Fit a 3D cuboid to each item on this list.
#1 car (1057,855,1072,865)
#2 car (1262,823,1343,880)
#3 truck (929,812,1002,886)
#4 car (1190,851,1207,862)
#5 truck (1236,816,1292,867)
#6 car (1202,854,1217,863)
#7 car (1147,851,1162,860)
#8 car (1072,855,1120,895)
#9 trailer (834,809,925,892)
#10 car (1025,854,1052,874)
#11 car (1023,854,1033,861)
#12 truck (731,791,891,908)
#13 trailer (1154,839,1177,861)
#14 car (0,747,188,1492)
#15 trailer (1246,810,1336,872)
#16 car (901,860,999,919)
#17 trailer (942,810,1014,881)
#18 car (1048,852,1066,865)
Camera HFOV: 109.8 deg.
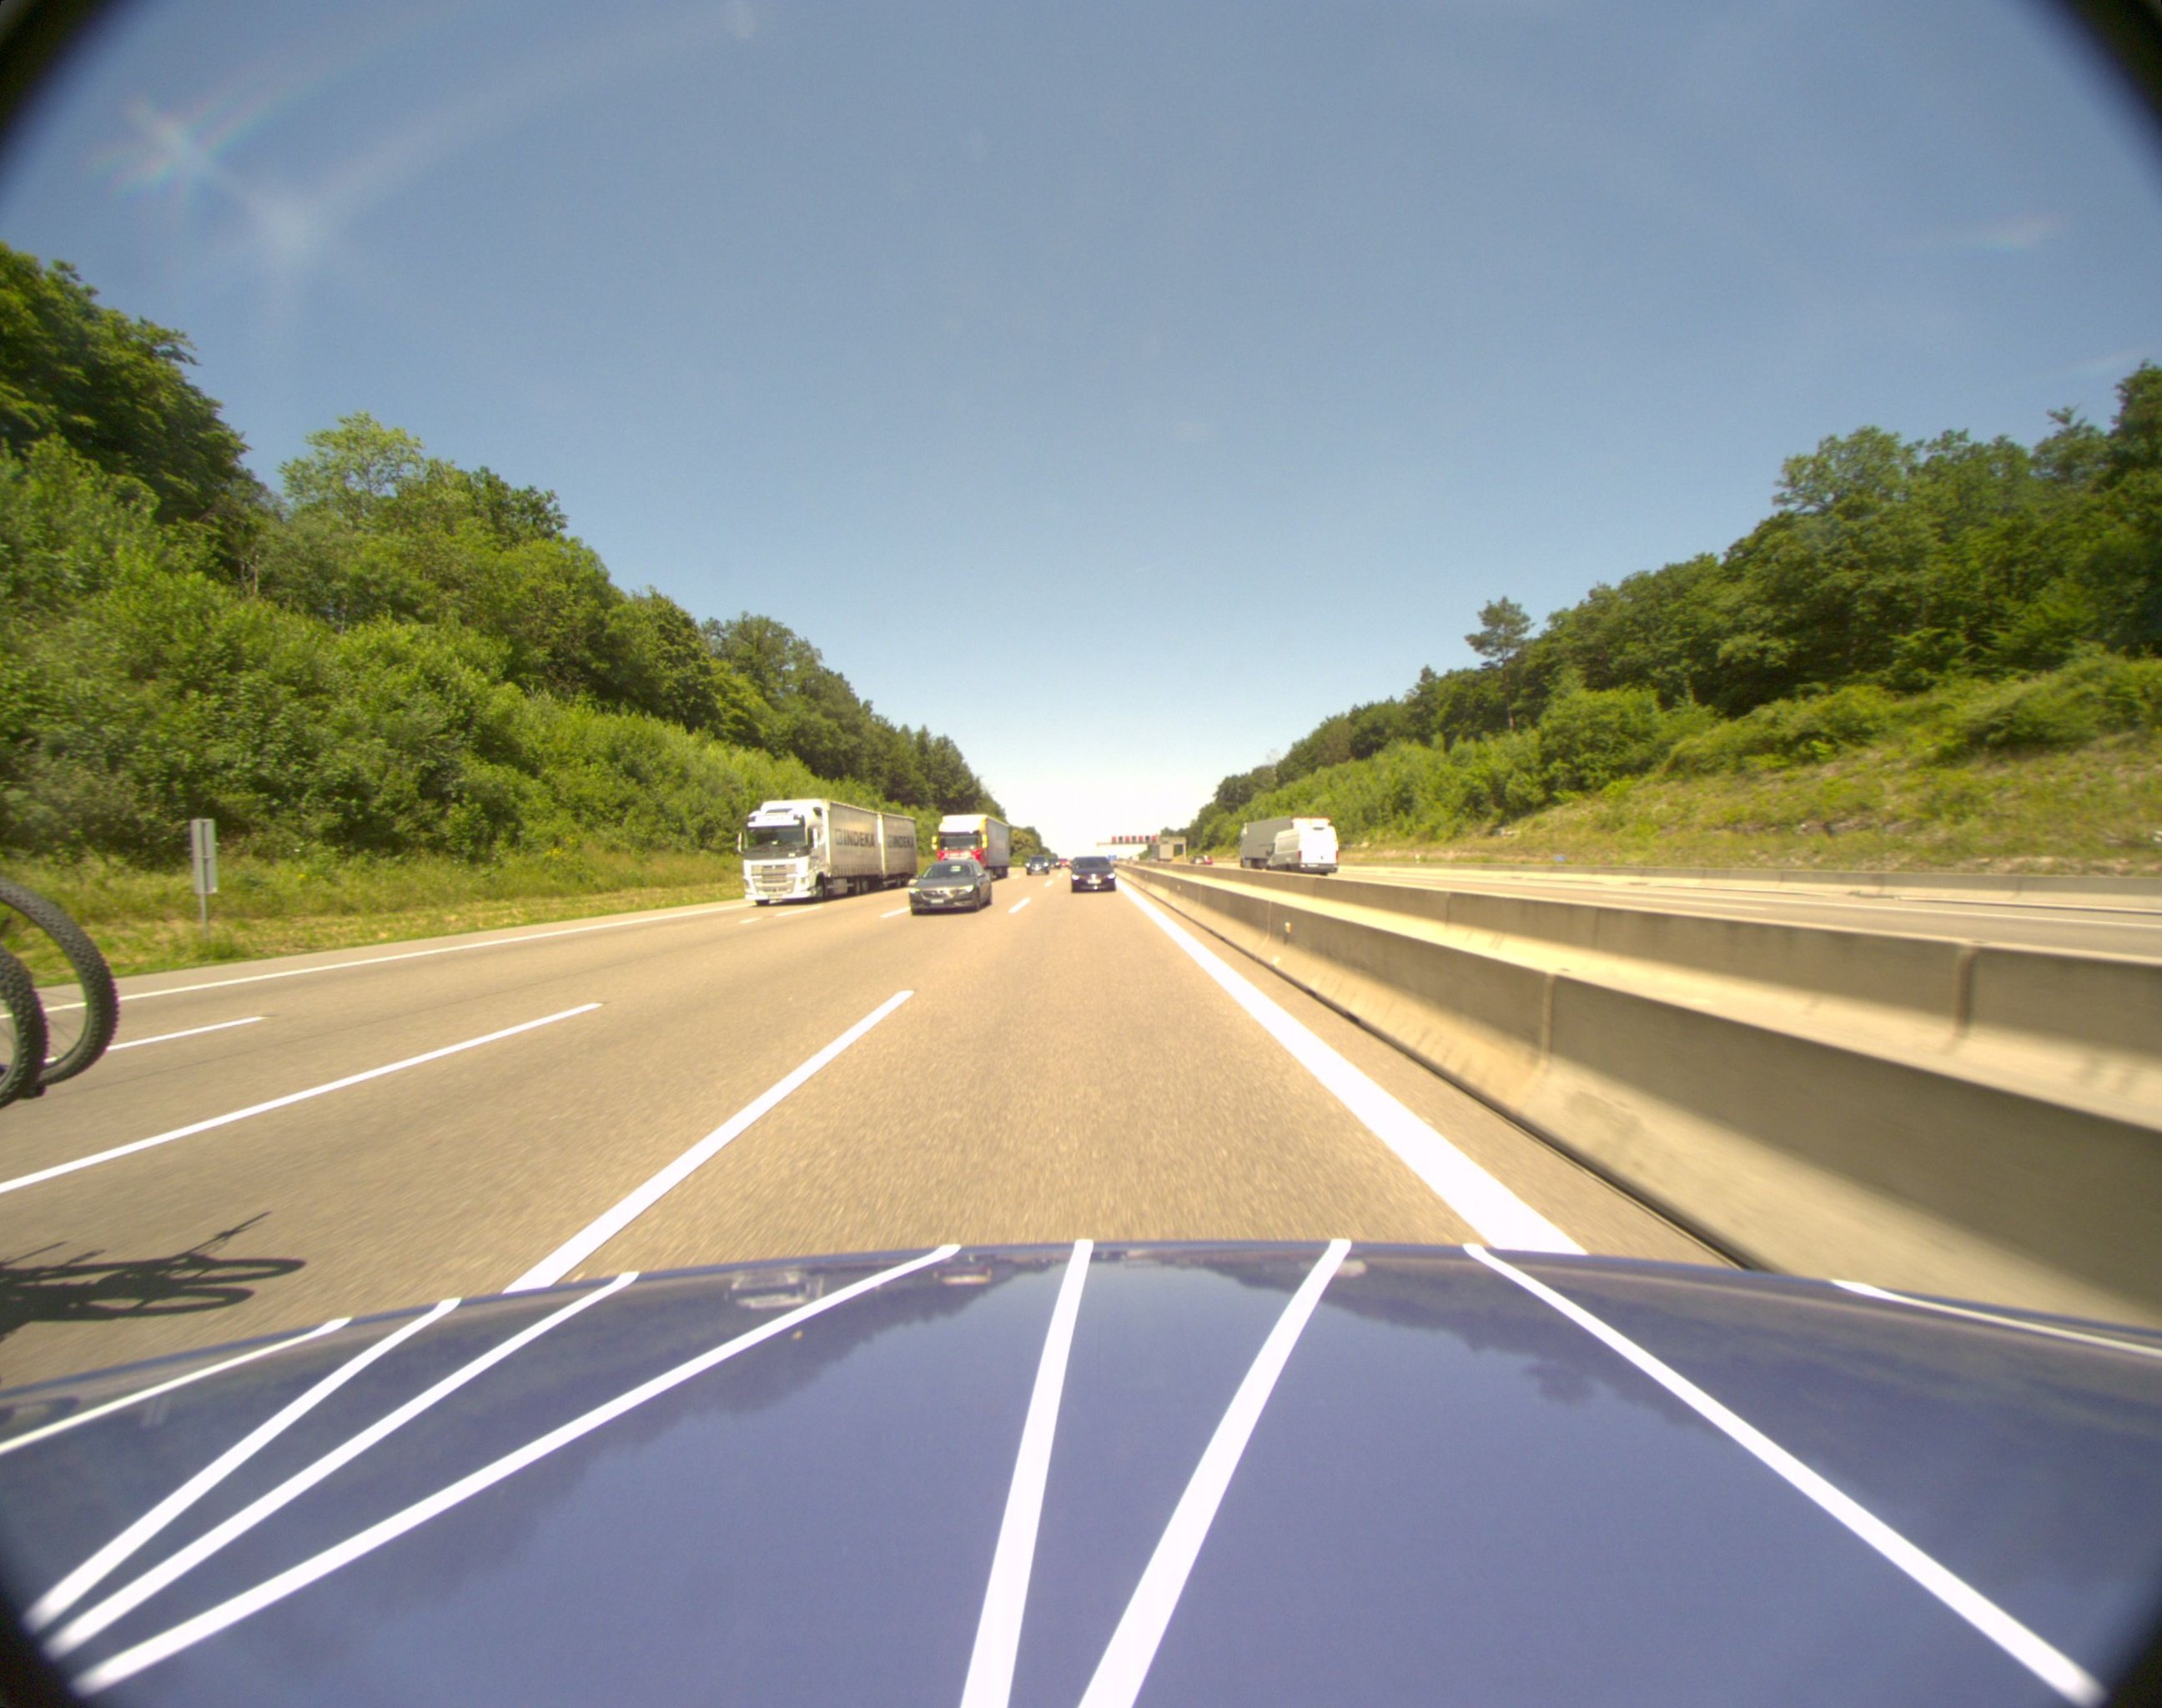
[{"bbox_3d":[-2.428,0.886,114.322,1.910,1.504,4.159,-3,0,2],"label":"car"},{"bbox_3d":[11.645,-0.169,40.669,2.090,2.784,7.601,0,1,0],"label":"car"},{"bbox_3d":[-6.761,-0.252,45.541,3.018,3.958,7.540,-2,0,0],"label":"truck"},{"bbox_3d":[15.845,0.354,102.501,1.671,1.399,4.439,-1,0,0],"label":"car"},{"bbox_3d":[15.405,-1.056,64.598,2.902,4.045,7.788,-1,1,0],"label":"truck"},{"bbox_3d":[21.003,0.680,124.327,1.875,1.492,3.719,-1,0,0],"label":"car"},{"bbox_3d":[12.283,0.237,127.135,2.032,1.497,5.441,-1,0,1],"label":"car"},{"bbox_3d":[0.602,0.818,31.299,1.778,1.425,4.143,-3,0,1],"label":"car"},{"bbox_3d":[-11.037,-0.192,42.537,2.585,4.046,8.382,-3,0,1],"label":"trailer"},{"bbox_3d":[-3.521,0.790,63.889,1.910,1.504,4.159,-3,0,2],"label":"car"},{"bbox_3d":[-10.804,0.726,155.125,1.910,1.504,4.159,-1,0,0],"label":"car"},{"bbox_3d":[-11.163,-0.183,33.042,2.729,4.136,10.969,-3,0,1],"label":"truck"},{"bbox_3d":[16.712,-0.790,151.067,3.108,4.229,13.840,0,0,1],"label":"trailer"},{"bbox_3d":[-4.000,0.768,0.103,1.966,2.041,4.784,-3,0,1],"label":"car"},{"bbox_3d":[15.439,-0.881,57.303,2.933,4.060,13.837,-1,0,0],"label":"trailer"},{"bbox_3d":[-3.740,0.954,22.689,1.972,1.444,5.223,-1,1,0],"label":"car"},{"bbox_3d":[-6.721,-0.480,52.080,2.927,4.118,14.847,-1,0,0],"label":"trailer"},{"bbox_3d":[-2.914,0.512,93.651,1.910,1.504,4.159,-3,0,2],"label":"car"}]
